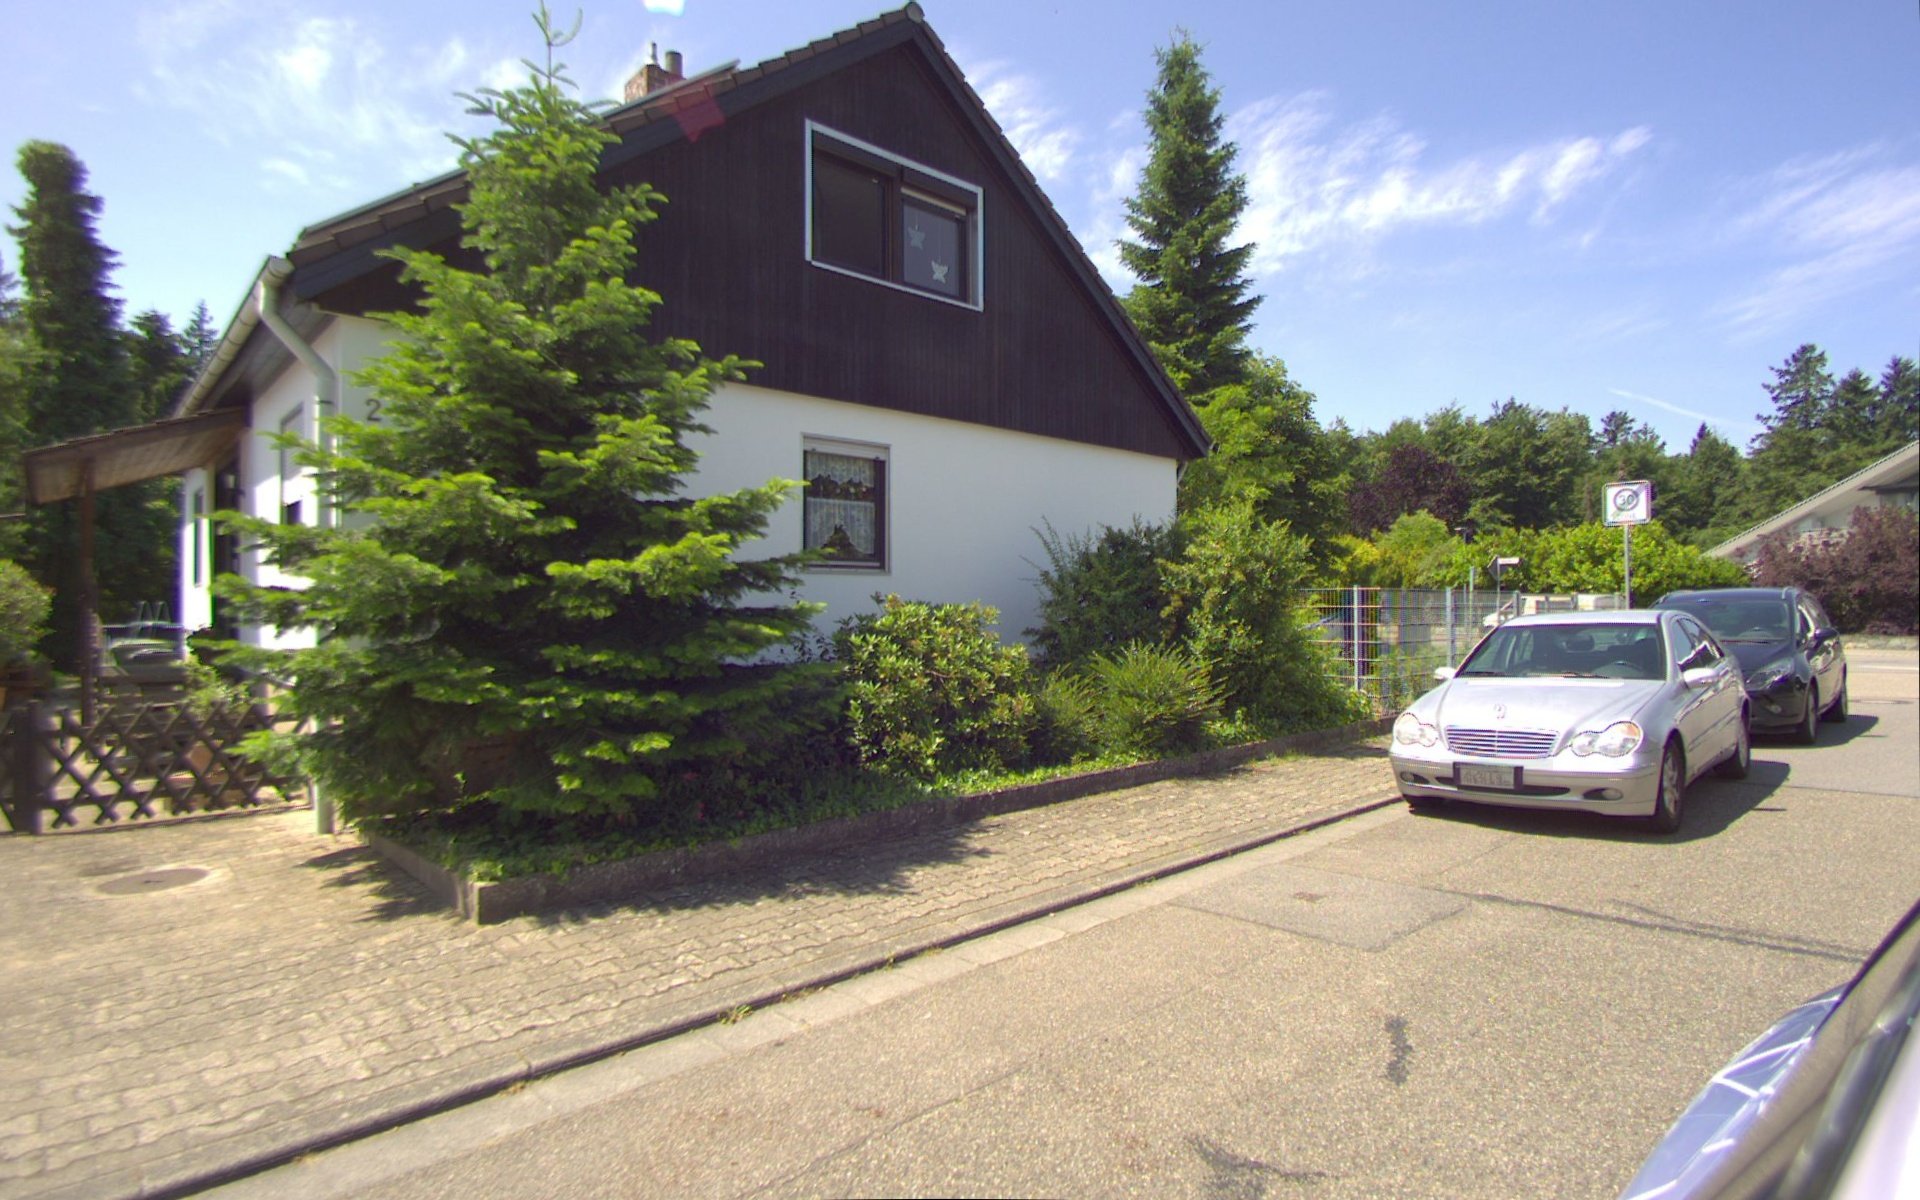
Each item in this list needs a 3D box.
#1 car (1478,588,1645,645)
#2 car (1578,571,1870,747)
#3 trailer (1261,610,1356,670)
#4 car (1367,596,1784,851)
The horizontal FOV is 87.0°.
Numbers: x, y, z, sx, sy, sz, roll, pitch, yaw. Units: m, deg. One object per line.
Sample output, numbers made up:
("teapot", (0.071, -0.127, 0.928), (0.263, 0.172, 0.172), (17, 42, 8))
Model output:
("car", (21.431, 0.560, 36.353), (1.977, 1.880, 5.078), (0, 0, -18))
("car", (9.161, 0.569, 11.984), (4.602, 1.683, 1.965), (0, 0, -42))
("trailer", (6.952, 0.754, 20.128), (1.101, 1.098, 2.191), (0, 0, 39))
("car", (5.009, 0.711, 7.967), (4.263, 1.478, 1.688), (0, 0, -42))
